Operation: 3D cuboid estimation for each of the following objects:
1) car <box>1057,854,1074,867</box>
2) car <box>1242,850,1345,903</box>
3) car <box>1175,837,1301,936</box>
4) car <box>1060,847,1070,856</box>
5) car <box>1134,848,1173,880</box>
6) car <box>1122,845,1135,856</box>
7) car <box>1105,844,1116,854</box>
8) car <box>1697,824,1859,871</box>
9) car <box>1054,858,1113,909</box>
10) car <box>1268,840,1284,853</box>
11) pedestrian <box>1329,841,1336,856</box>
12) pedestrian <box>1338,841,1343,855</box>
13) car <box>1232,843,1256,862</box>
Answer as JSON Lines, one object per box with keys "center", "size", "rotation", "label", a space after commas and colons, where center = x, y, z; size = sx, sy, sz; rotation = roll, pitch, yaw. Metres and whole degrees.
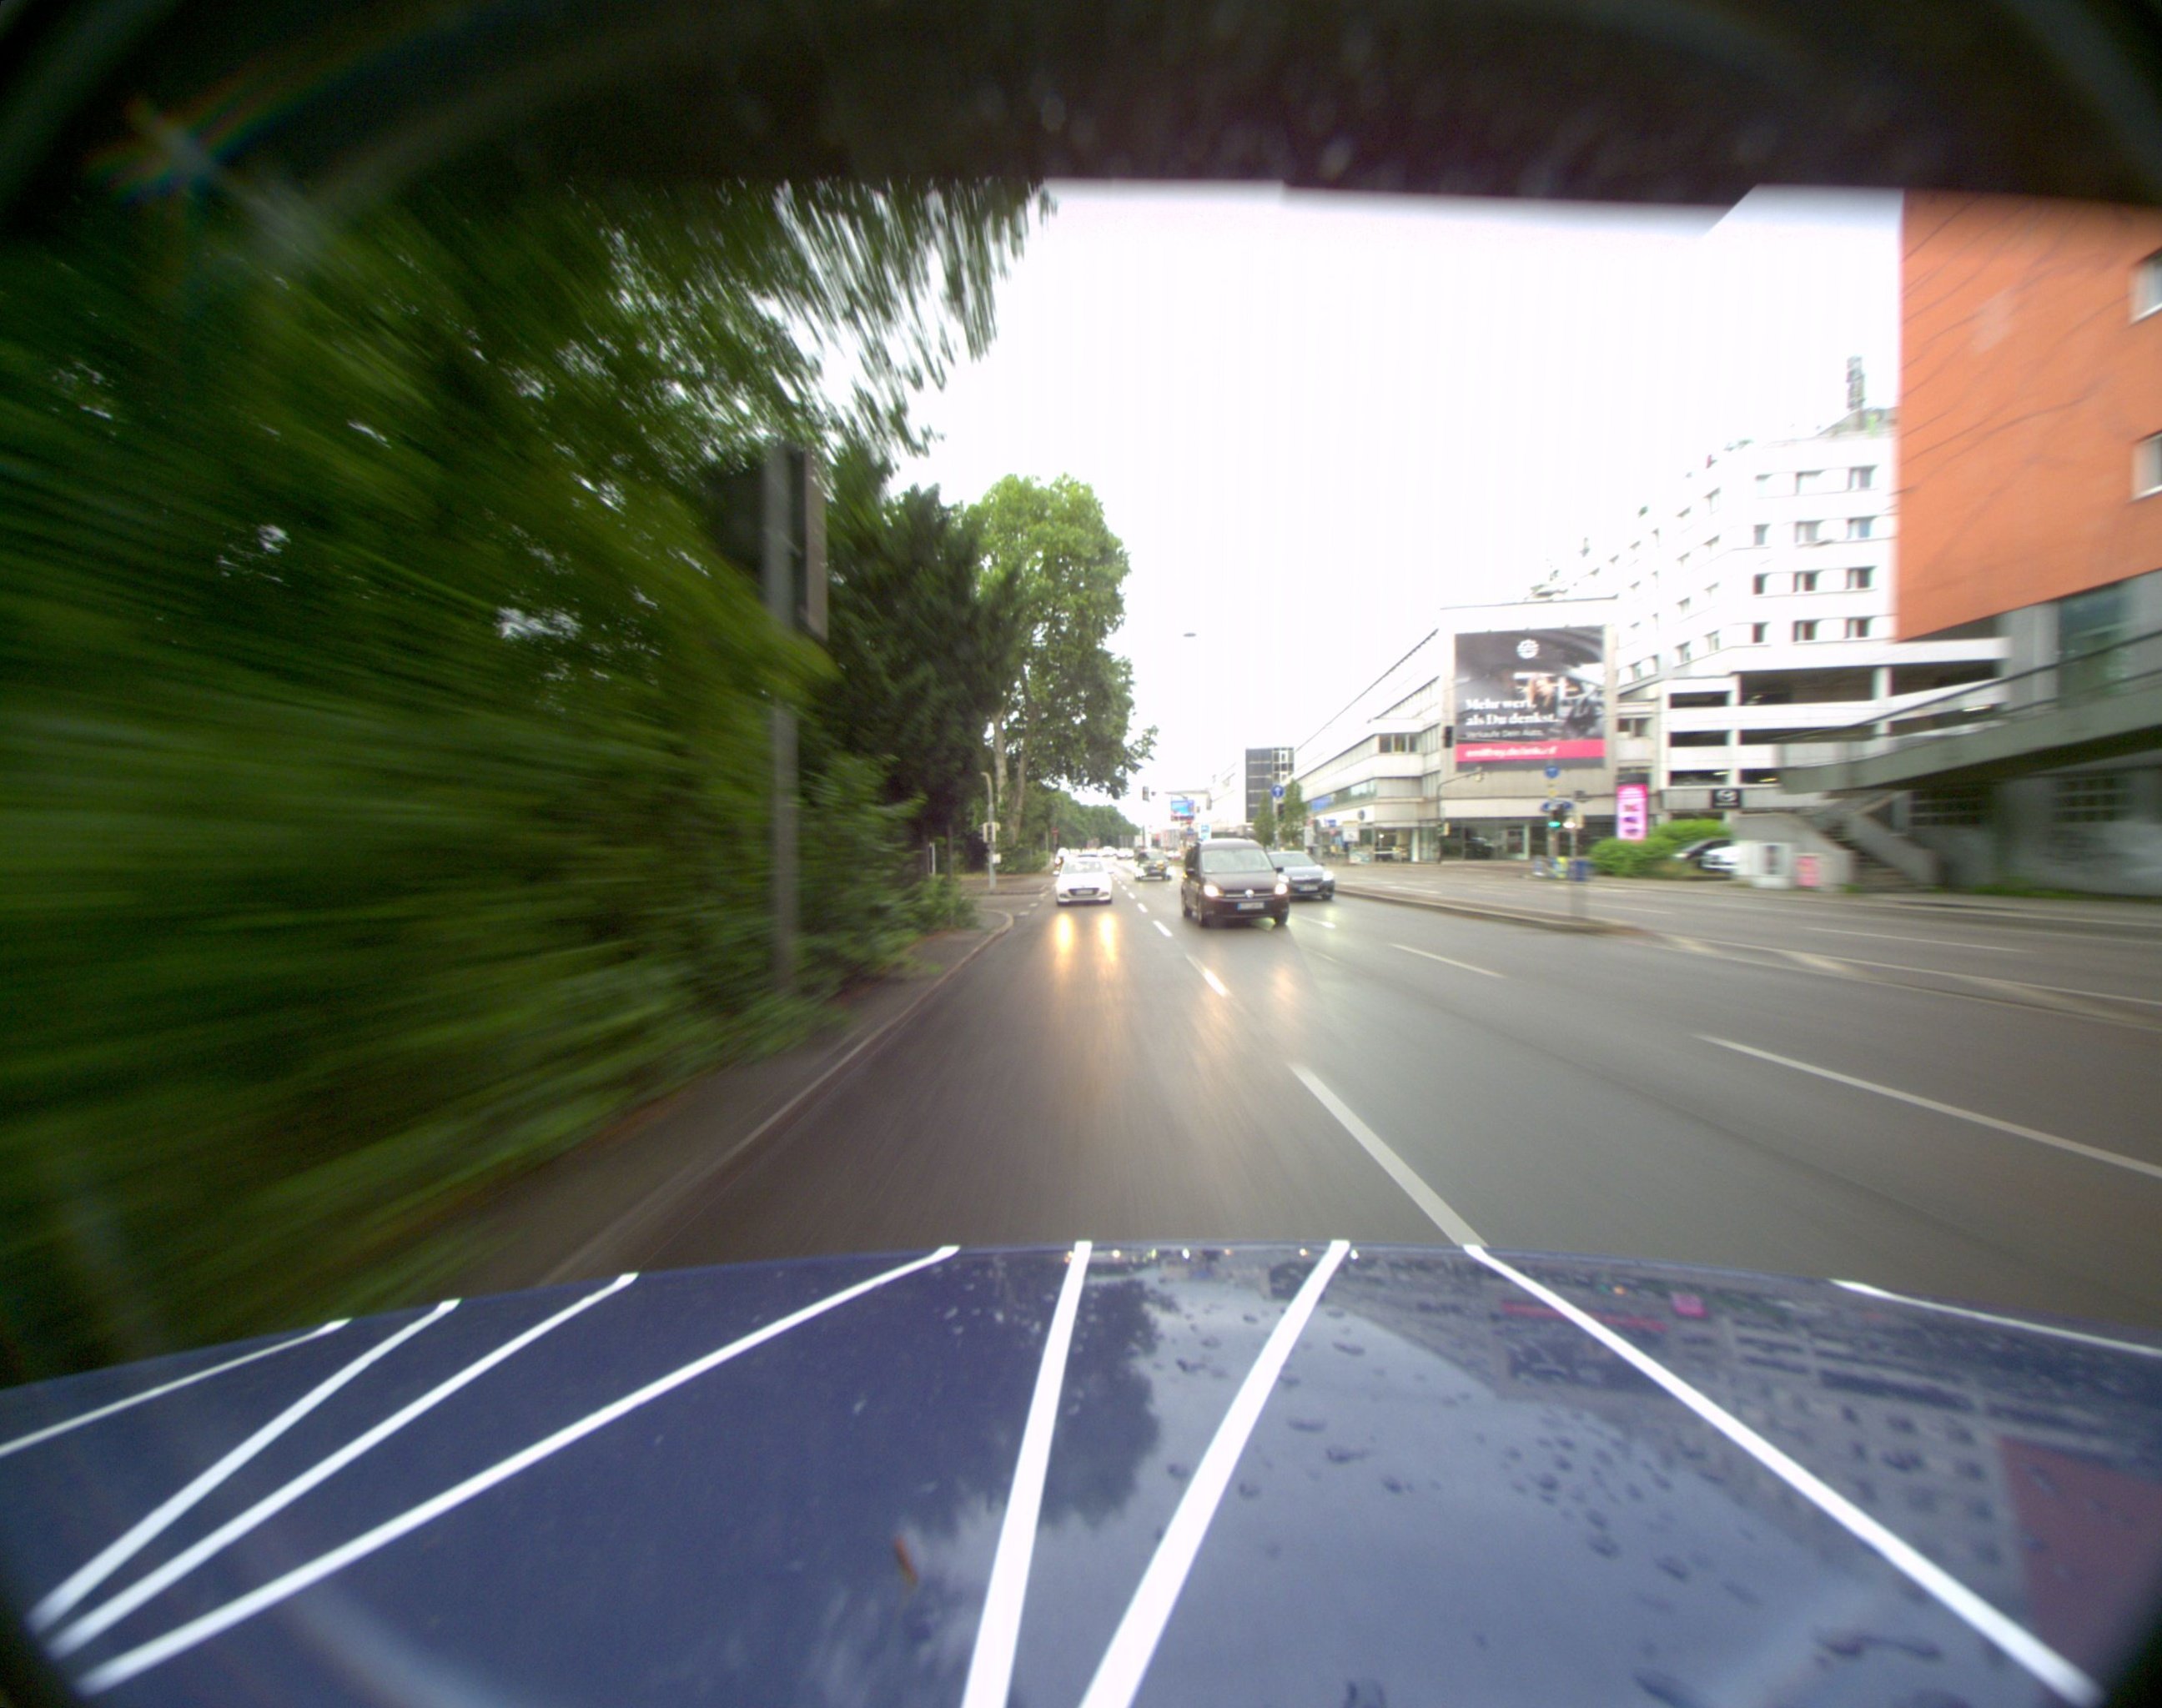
{"center": [-1.873, 0.753, 93.206], "size": [1.730, 1.502, 3.732], "rotation": [-2, 1, 4], "label": "car"}
{"center": [6.330, 0.672, 23.215], "size": [1.670, 1.406, 4.539], "rotation": [-2, -1, -2], "label": "car"}
{"center": [3.201, 0.609, 16.323], "size": [1.842, 1.780, 4.000], "rotation": [-3, 0, 0], "label": "car"}
{"center": [-3.410, -0.622, 161.781], "size": [1.878, 1.762, 3.999], "rotation": [-3, 1, 2], "label": "car"}
{"center": [3.868, 0.487, 40.987], "size": [1.731, 1.604, 3.999], "rotation": [-2, 1, 0], "label": "car"}
{"center": [6.728, -0.537, 107.481], "size": [1.730, 1.502, 3.732], "rotation": [-2, 1, 5], "label": "car"}
{"center": [5.143, -0.890, 133.986], "size": [1.878, 1.762, 3.999], "rotation": [-3, 1, 2], "label": "car"}
{"center": [26.800, -0.246, 29.360], "size": [4.301, 1.616, 1.936], "rotation": [-2, 1, 6], "label": "car"}
{"center": [0.082, 0.898, 25.027], "size": [1.731, 1.431, 3.999], "rotation": [-2, 1, 0], "label": "car"}
{"center": [28.994, -1.154, 113.269], "size": [1.883, 1.856, 4.002], "rotation": [-2, 0, 9], "label": "car"}
{"center": [26.251, -0.586, 79.184], "size": [0.575, 1.522, 0.454], "rotation": [-2, 1, 6], "label": "pedestrian"}
{"center": [27.015, -0.617, 79.120], "size": [0.437, 1.522, 0.513], "rotation": [-2, 1, 6], "label": "pedestrian"}
{"center": [12.990, -0.145, 60.694], "size": [1.524, 1.469, 2.771], "rotation": [-2, 1, 4], "label": "car"}
